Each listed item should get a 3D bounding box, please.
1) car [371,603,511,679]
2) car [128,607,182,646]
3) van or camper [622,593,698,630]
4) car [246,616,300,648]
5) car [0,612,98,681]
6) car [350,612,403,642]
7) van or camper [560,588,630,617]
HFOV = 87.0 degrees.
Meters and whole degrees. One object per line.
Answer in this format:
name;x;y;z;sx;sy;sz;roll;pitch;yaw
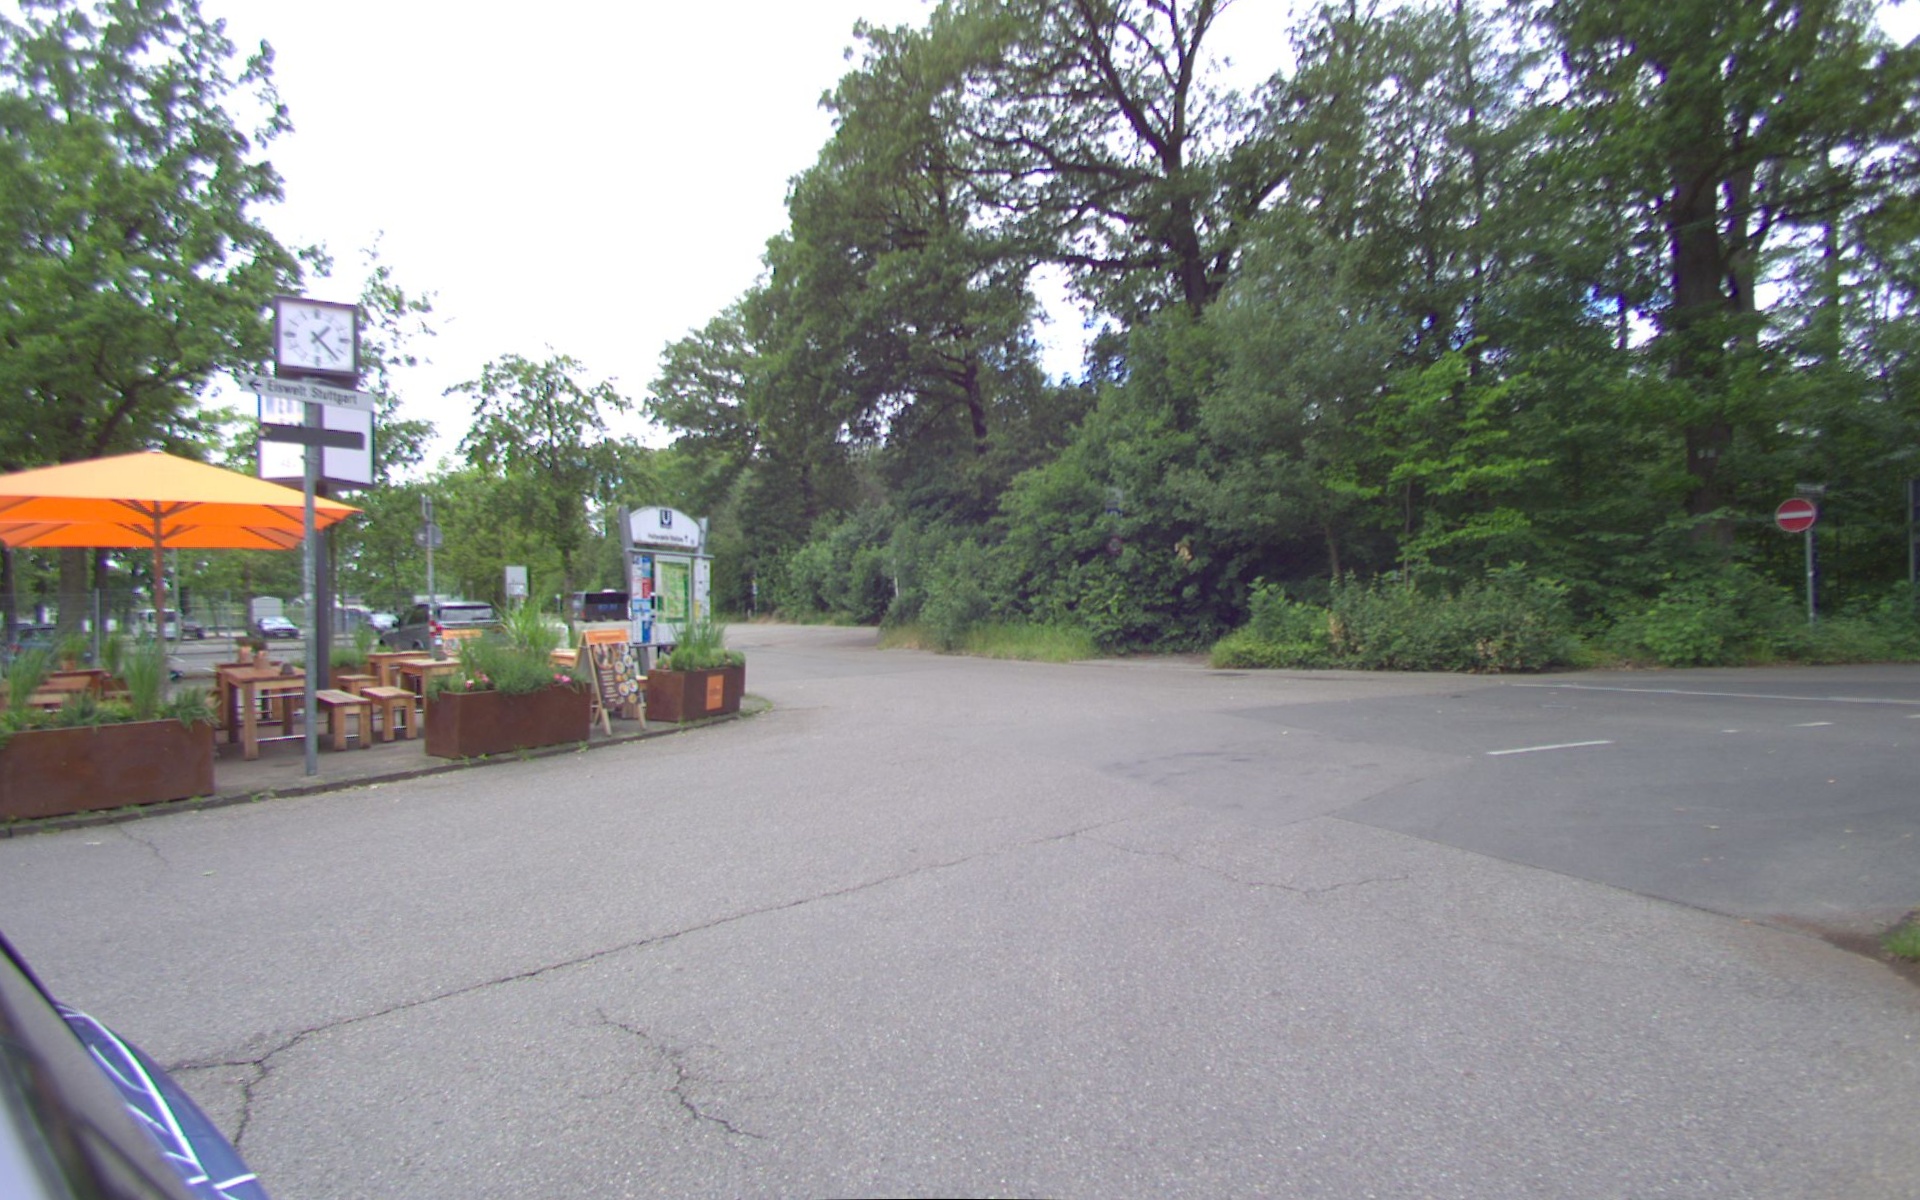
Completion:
car;-12.877;0.968;25.004;1.907;1.682;4.349;-1;0;-44
car;-44.994;1.450;56.517;1.850;2.055;4.593;-1;-1;-45
van or camper;-25.139;0.901;85.127;2.054;2.871;7.288;-1;0;21
car;-40.819;1.878;60.075;1.850;1.793;4.298;-1;-1;-45
car;-23.078;1.118;25.501;1.969;1.564;4.005;-1;-1;-42
car;-36.890;1.690;63.923;1.850;1.793;4.298;-1;-1;-45
van or camper;-37.873;0.255;105.291;2.192;2.871;7.275;-1;0;26
